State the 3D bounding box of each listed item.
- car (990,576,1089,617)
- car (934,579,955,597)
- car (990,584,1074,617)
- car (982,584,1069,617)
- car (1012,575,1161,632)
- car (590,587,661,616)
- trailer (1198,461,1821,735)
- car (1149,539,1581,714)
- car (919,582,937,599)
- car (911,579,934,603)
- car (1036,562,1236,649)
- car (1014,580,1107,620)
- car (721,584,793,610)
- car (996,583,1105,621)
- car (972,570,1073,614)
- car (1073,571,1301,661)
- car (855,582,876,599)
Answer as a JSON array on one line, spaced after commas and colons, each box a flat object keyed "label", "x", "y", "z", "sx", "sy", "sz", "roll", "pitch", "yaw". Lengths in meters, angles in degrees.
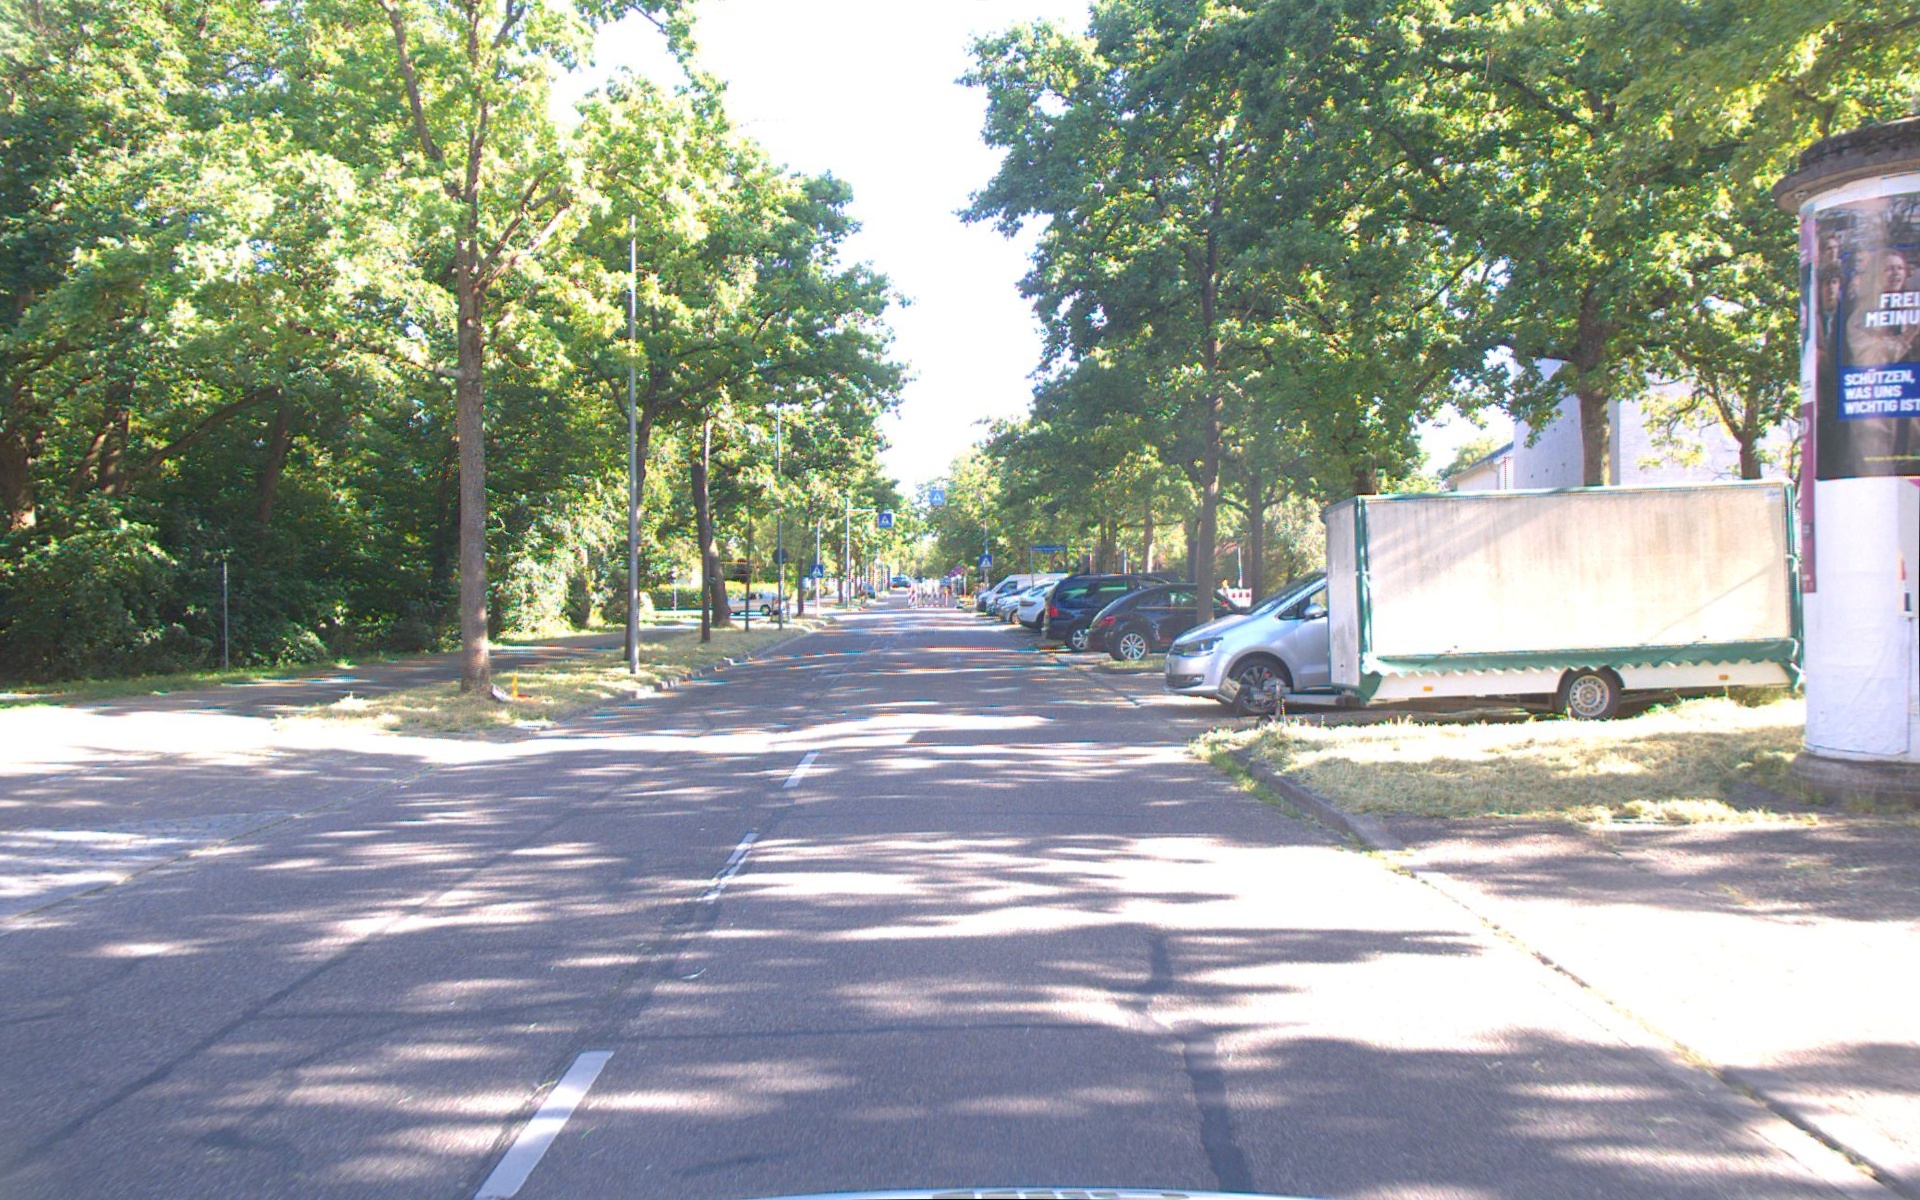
[{"label": "car", "x": 3.635, "y": -0.166, "z": 76.084, "sx": 4.297, "sy": 1.680, "sz": 1.850, "roll": -3, "pitch": 1, "yaw": -3}, {"label": "car", "x": -1.555, "y": -1.180, "z": 163.041, "sx": 1.953, "sy": 1.746, "sz": 3.999, "roll": 0, "pitch": 0, "yaw": -2}, {"label": "car", "x": 3.387, "y": 0.004, "z": 78.565, "sx": 3.905, "sy": 1.458, "sz": 1.901, "roll": -1, "pitch": 0, "yaw": 0}, {"label": "car", "x": 3.204, "y": 0.023, "z": 81.125, "sx": 4.128, "sy": 1.596, "sz": 1.932, "roll": 0, "pitch": 1, "yaw": -3}, {"label": "car", "x": 4.039, "y": 0.109, "z": 53.304, "sx": 4.576, "sy": 1.608, "sz": 1.916, "roll": -2, "pitch": 1, "yaw": -1}, {"label": "car", "x": -20.618, "y": 0.078, "z": 102.115, "sx": 3.903, "sy": 1.684, "sz": 2.001, "roll": -1, "pitch": 0, "yaw": 4}, {"label": "trailer", "x": 5.395, "y": -0.028, "z": 16.733, "sx": 5.656, "sy": 2.358, "sz": 1.686, "roll": -3, "pitch": 0, "yaw": 1}, {"label": "car", "x": 4.645, "y": 0.285, "z": 19.482, "sx": 4.547, "sy": 1.752, "sz": 1.987, "roll": -3, "pitch": 0, "yaw": -1}, {"label": "car", "x": -3.478, "y": -1.042, "z": 178.750, "sx": 1.953, "sy": 1.746, "sz": 3.999, "roll": 0, "pitch": 0, "yaw": -2}, {"label": "car", "x": -3.217, "y": -0.793, "z": 141.761, "sx": 1.953, "sy": 1.966, "sz": 3.999, "roll": 0, "pitch": 0, "yaw": -2}, {"label": "car", "x": 4.091, "y": 0.118, "z": 39.001, "sx": 4.438, "sy": 1.832, "sz": 1.936, "roll": -2, "pitch": 0, "yaw": -1}, {"label": "car", "x": 4.331, "y": -0.001, "z": 71.620, "sx": 3.807, "sy": 1.523, "sz": 1.776, "roll": -3, "pitch": 0, "yaw": -2}, {"label": "car", "x": -12.373, "y": -0.169, "z": 100.788, "sx": 3.902, "sy": 1.510, "sz": 2.001, "roll": -1, "pitch": 0, "yaw": 16}, {"label": "car", "x": 3.719, "y": 0.081, "z": 68.480, "sx": 4.355, "sy": 1.414, "sz": 1.911, "roll": -2, "pitch": 1, "yaw": -2}, {"label": "car", "x": 3.261, "y": -0.427, "z": 86.385, "sx": 5.083, "sy": 2.142, "sz": 2.081, "roll": -1, "pitch": 0, "yaw": -3}, {"label": "car", "x": 4.373, "y": 0.291, "z": 32.397, "sx": 4.158, "sy": 1.545, "sz": 2.078, "roll": -2, "pitch": 0, "yaw": 0}, {"label": "car", "x": -9.637, "y": -0.996, "z": 169.013, "sx": 1.953, "sy": 1.746, "sz": 3.999, "roll": 0, "pitch": 0, "yaw": -2}]
